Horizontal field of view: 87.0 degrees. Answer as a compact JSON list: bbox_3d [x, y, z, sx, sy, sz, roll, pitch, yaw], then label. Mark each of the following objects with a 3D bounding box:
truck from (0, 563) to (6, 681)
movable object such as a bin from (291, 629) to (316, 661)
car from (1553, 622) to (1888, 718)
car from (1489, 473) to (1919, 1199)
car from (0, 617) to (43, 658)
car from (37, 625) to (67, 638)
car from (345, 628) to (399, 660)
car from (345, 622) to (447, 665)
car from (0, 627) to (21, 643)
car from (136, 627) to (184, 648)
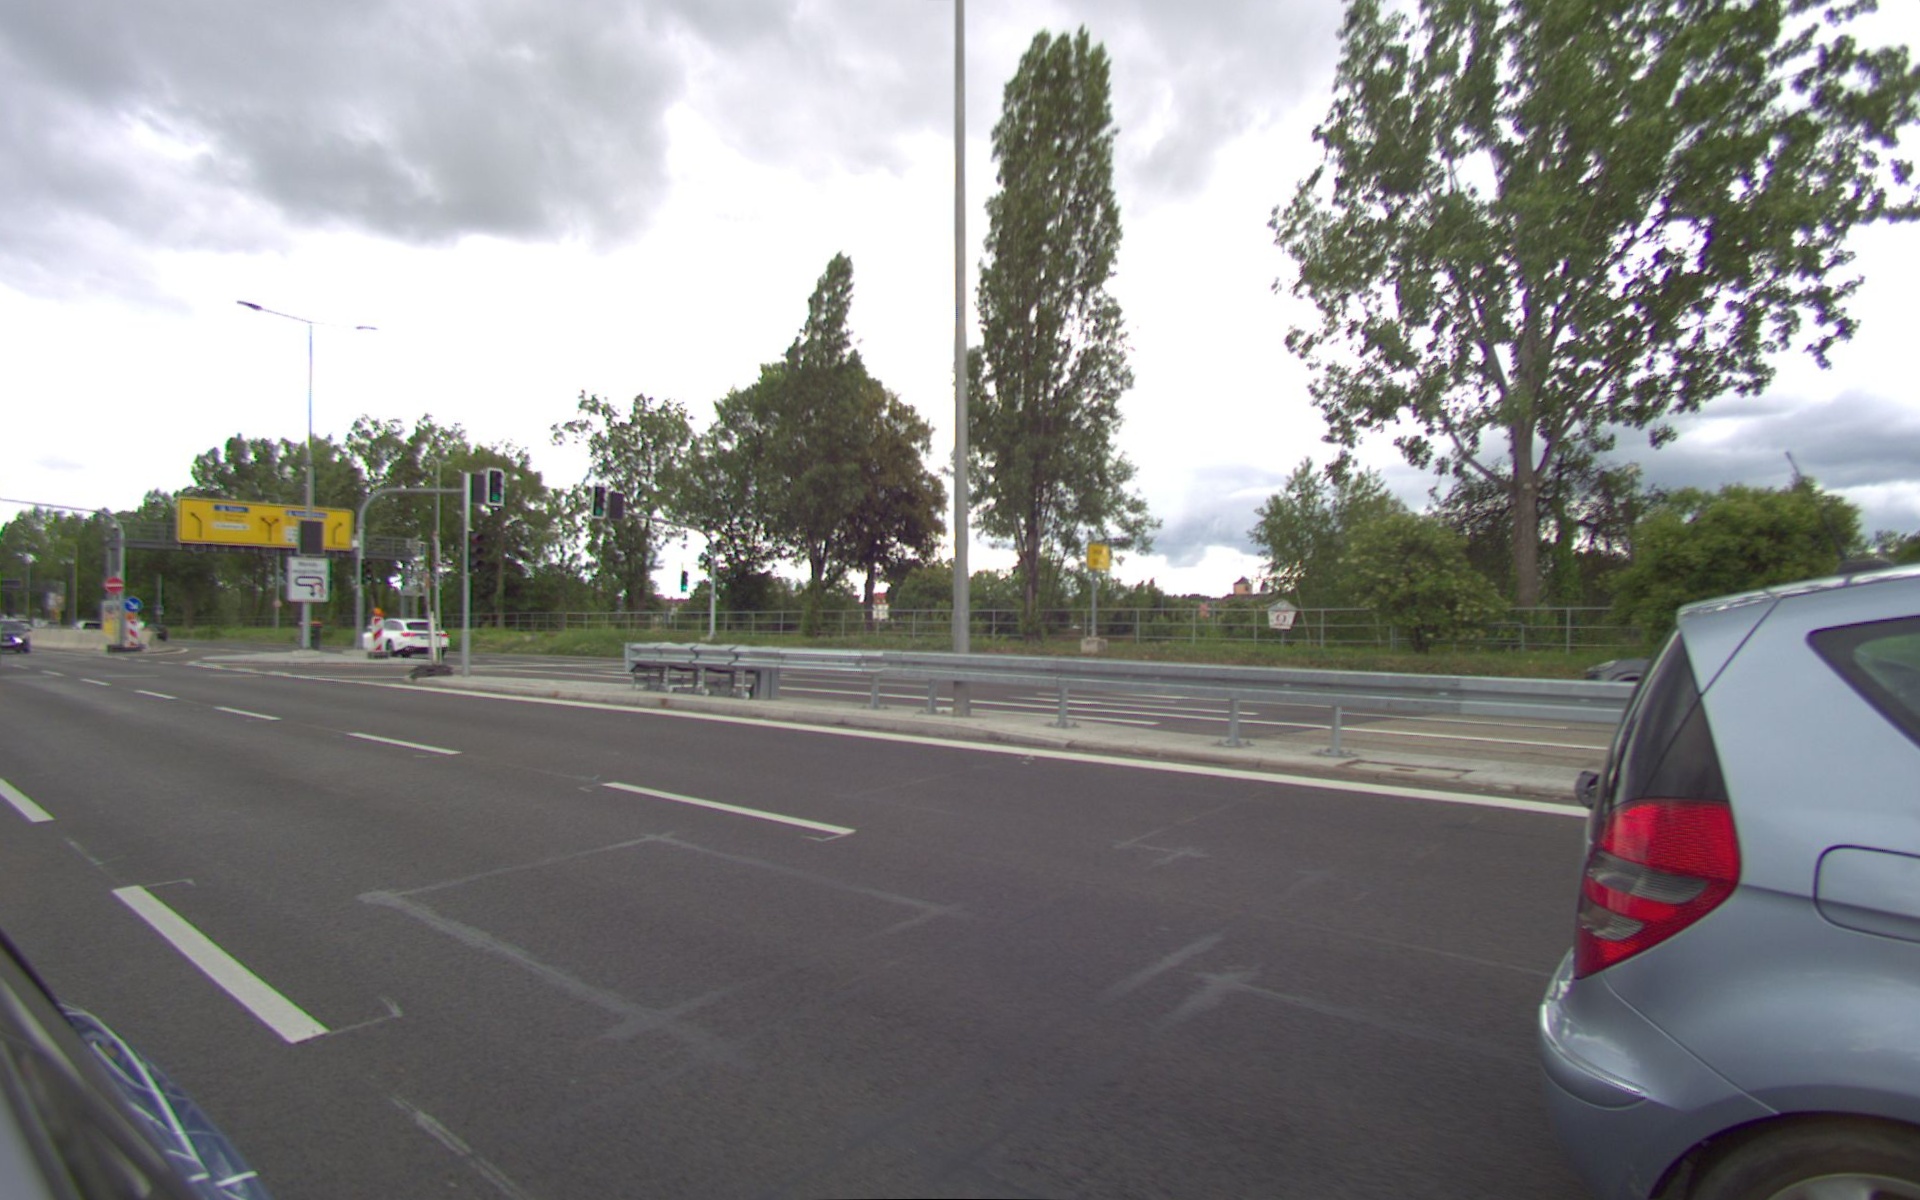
[{"bbox_3d":[-31.101,0.687,30.067,12.499,3.163,2.623,-1,-2,40],"label":"truck"},{"bbox_3d":[-21.403,1.452,33.010,0.622,1.032,0.563,-2,-2,44],"label":"movable object such as a bin"},{"bbox_3d":[12.824,1.114,17.327,4.363,1.429,1.907,-1,-2,39],"label":"car"},{"bbox_3d":[3.140,0.572,1.207,4.143,1.551,1.859,-1,-2,40],"label":"car"},{"bbox_3d":[-41.756,1.635,44.296,4.143,1.738,1.859,-1,-2,40],"label":"car"},{"bbox_3d":[-108.103,3.731,120.455,4.998,1.537,1.987,-1,-2,40],"label":"car"},{"bbox_3d":[-28.551,2.148,49.129,2.631,1.487,1.489,-2,-4,41],"label":"car"},{"bbox_3d":[-21.465,1.642,38.426,4.998,1.537,1.680,-1,-4,40],"label":"car"},{"bbox_3d":[-95.159,3.444,100.634,4.998,1.580,1.987,-1,-2,40],"label":"car"},{"bbox_3d":[-62.444,2.922,78.953,4.998,1.537,1.987,-1,-2,40],"label":"car"}]
